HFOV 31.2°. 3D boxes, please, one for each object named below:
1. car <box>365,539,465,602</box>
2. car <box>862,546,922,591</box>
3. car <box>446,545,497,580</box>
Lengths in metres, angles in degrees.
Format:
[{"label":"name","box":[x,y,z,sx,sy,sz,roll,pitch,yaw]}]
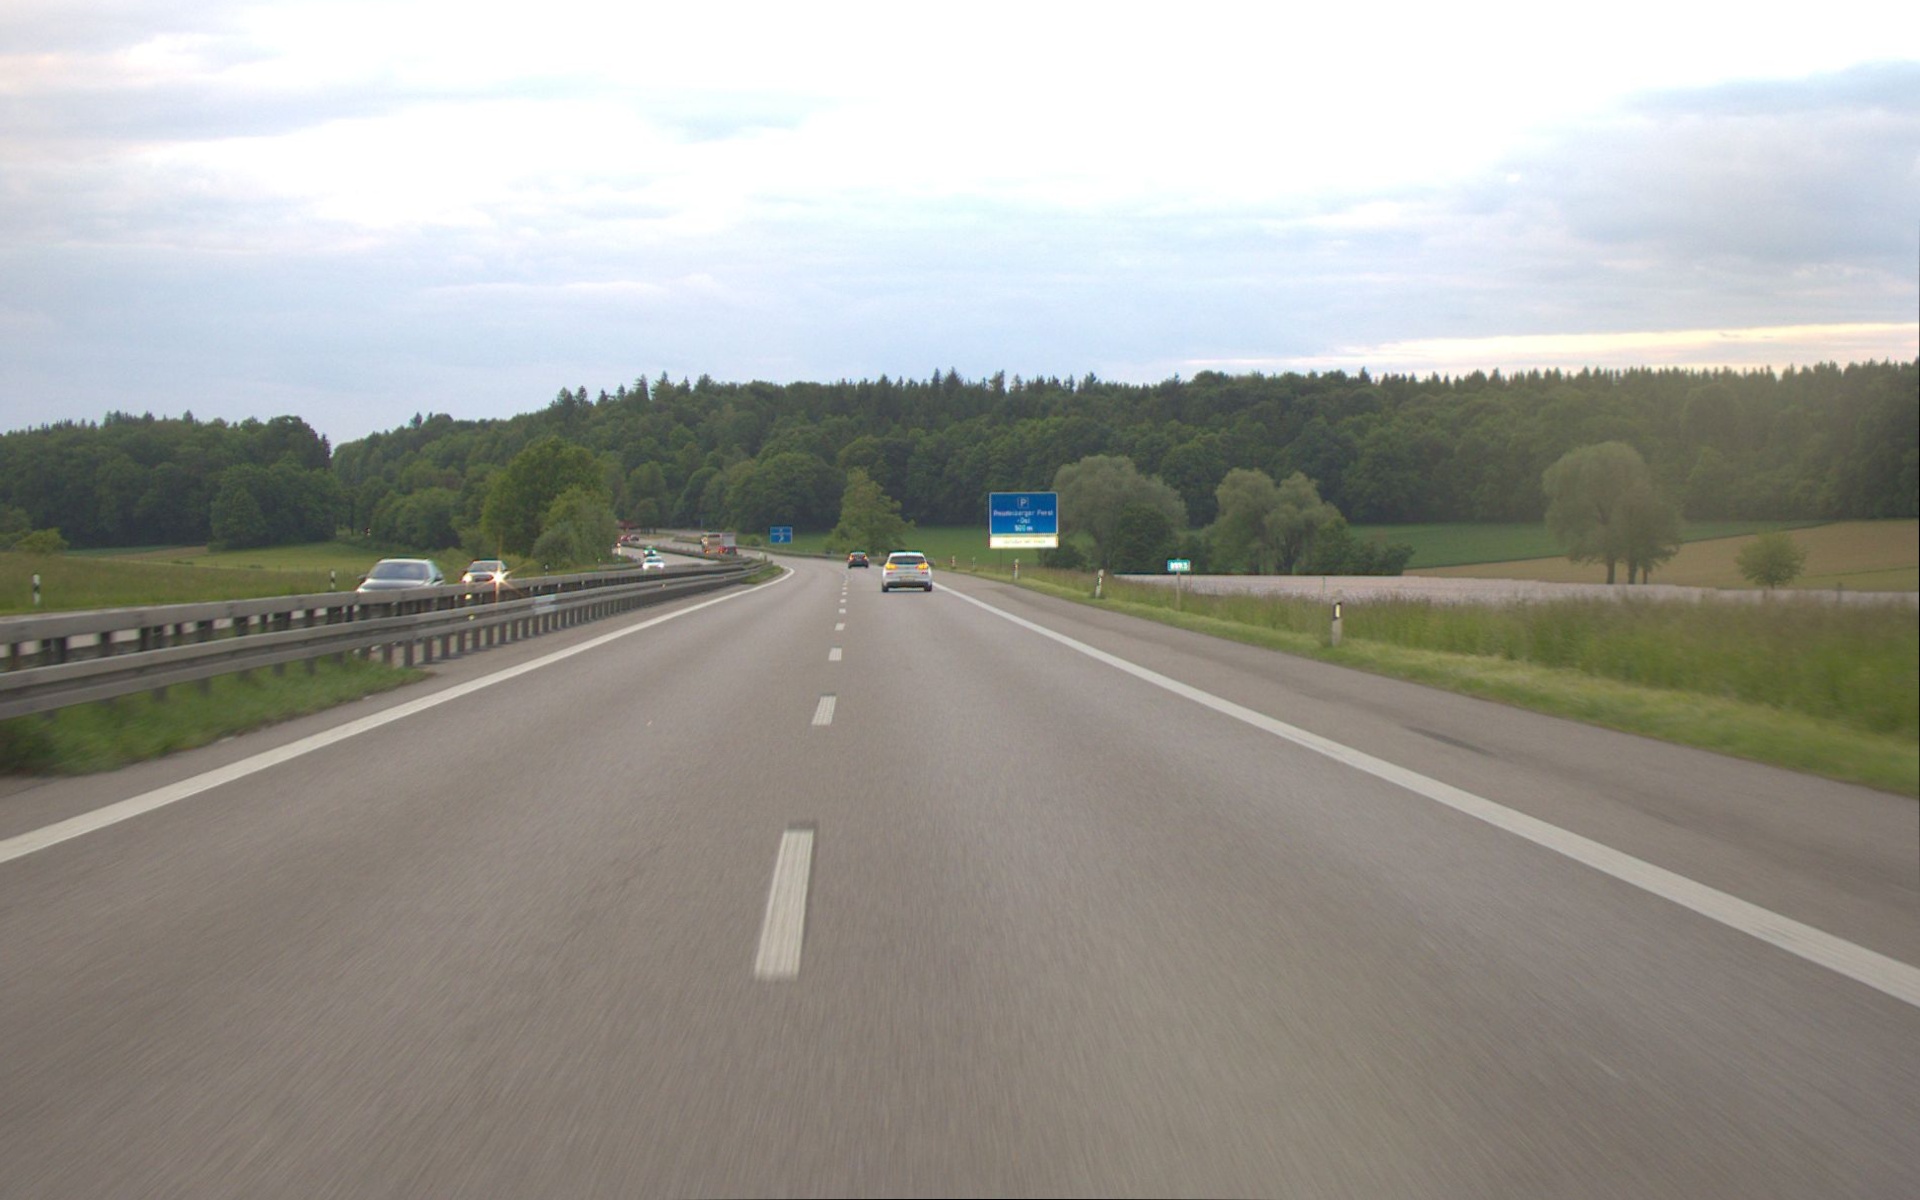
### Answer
[{"label":"car","box":[-13.652,-0.765,86.385,1.738,1.451,5.121,1,1,-1]},{"label":"car","box":[-2.506,-1.173,125.946,1.951,1.526,4.081,1,1,-4]},{"label":"car","box":[-20.560,-1.587,144.928,1.673,1.356,4.011,3,1,-2]}]
